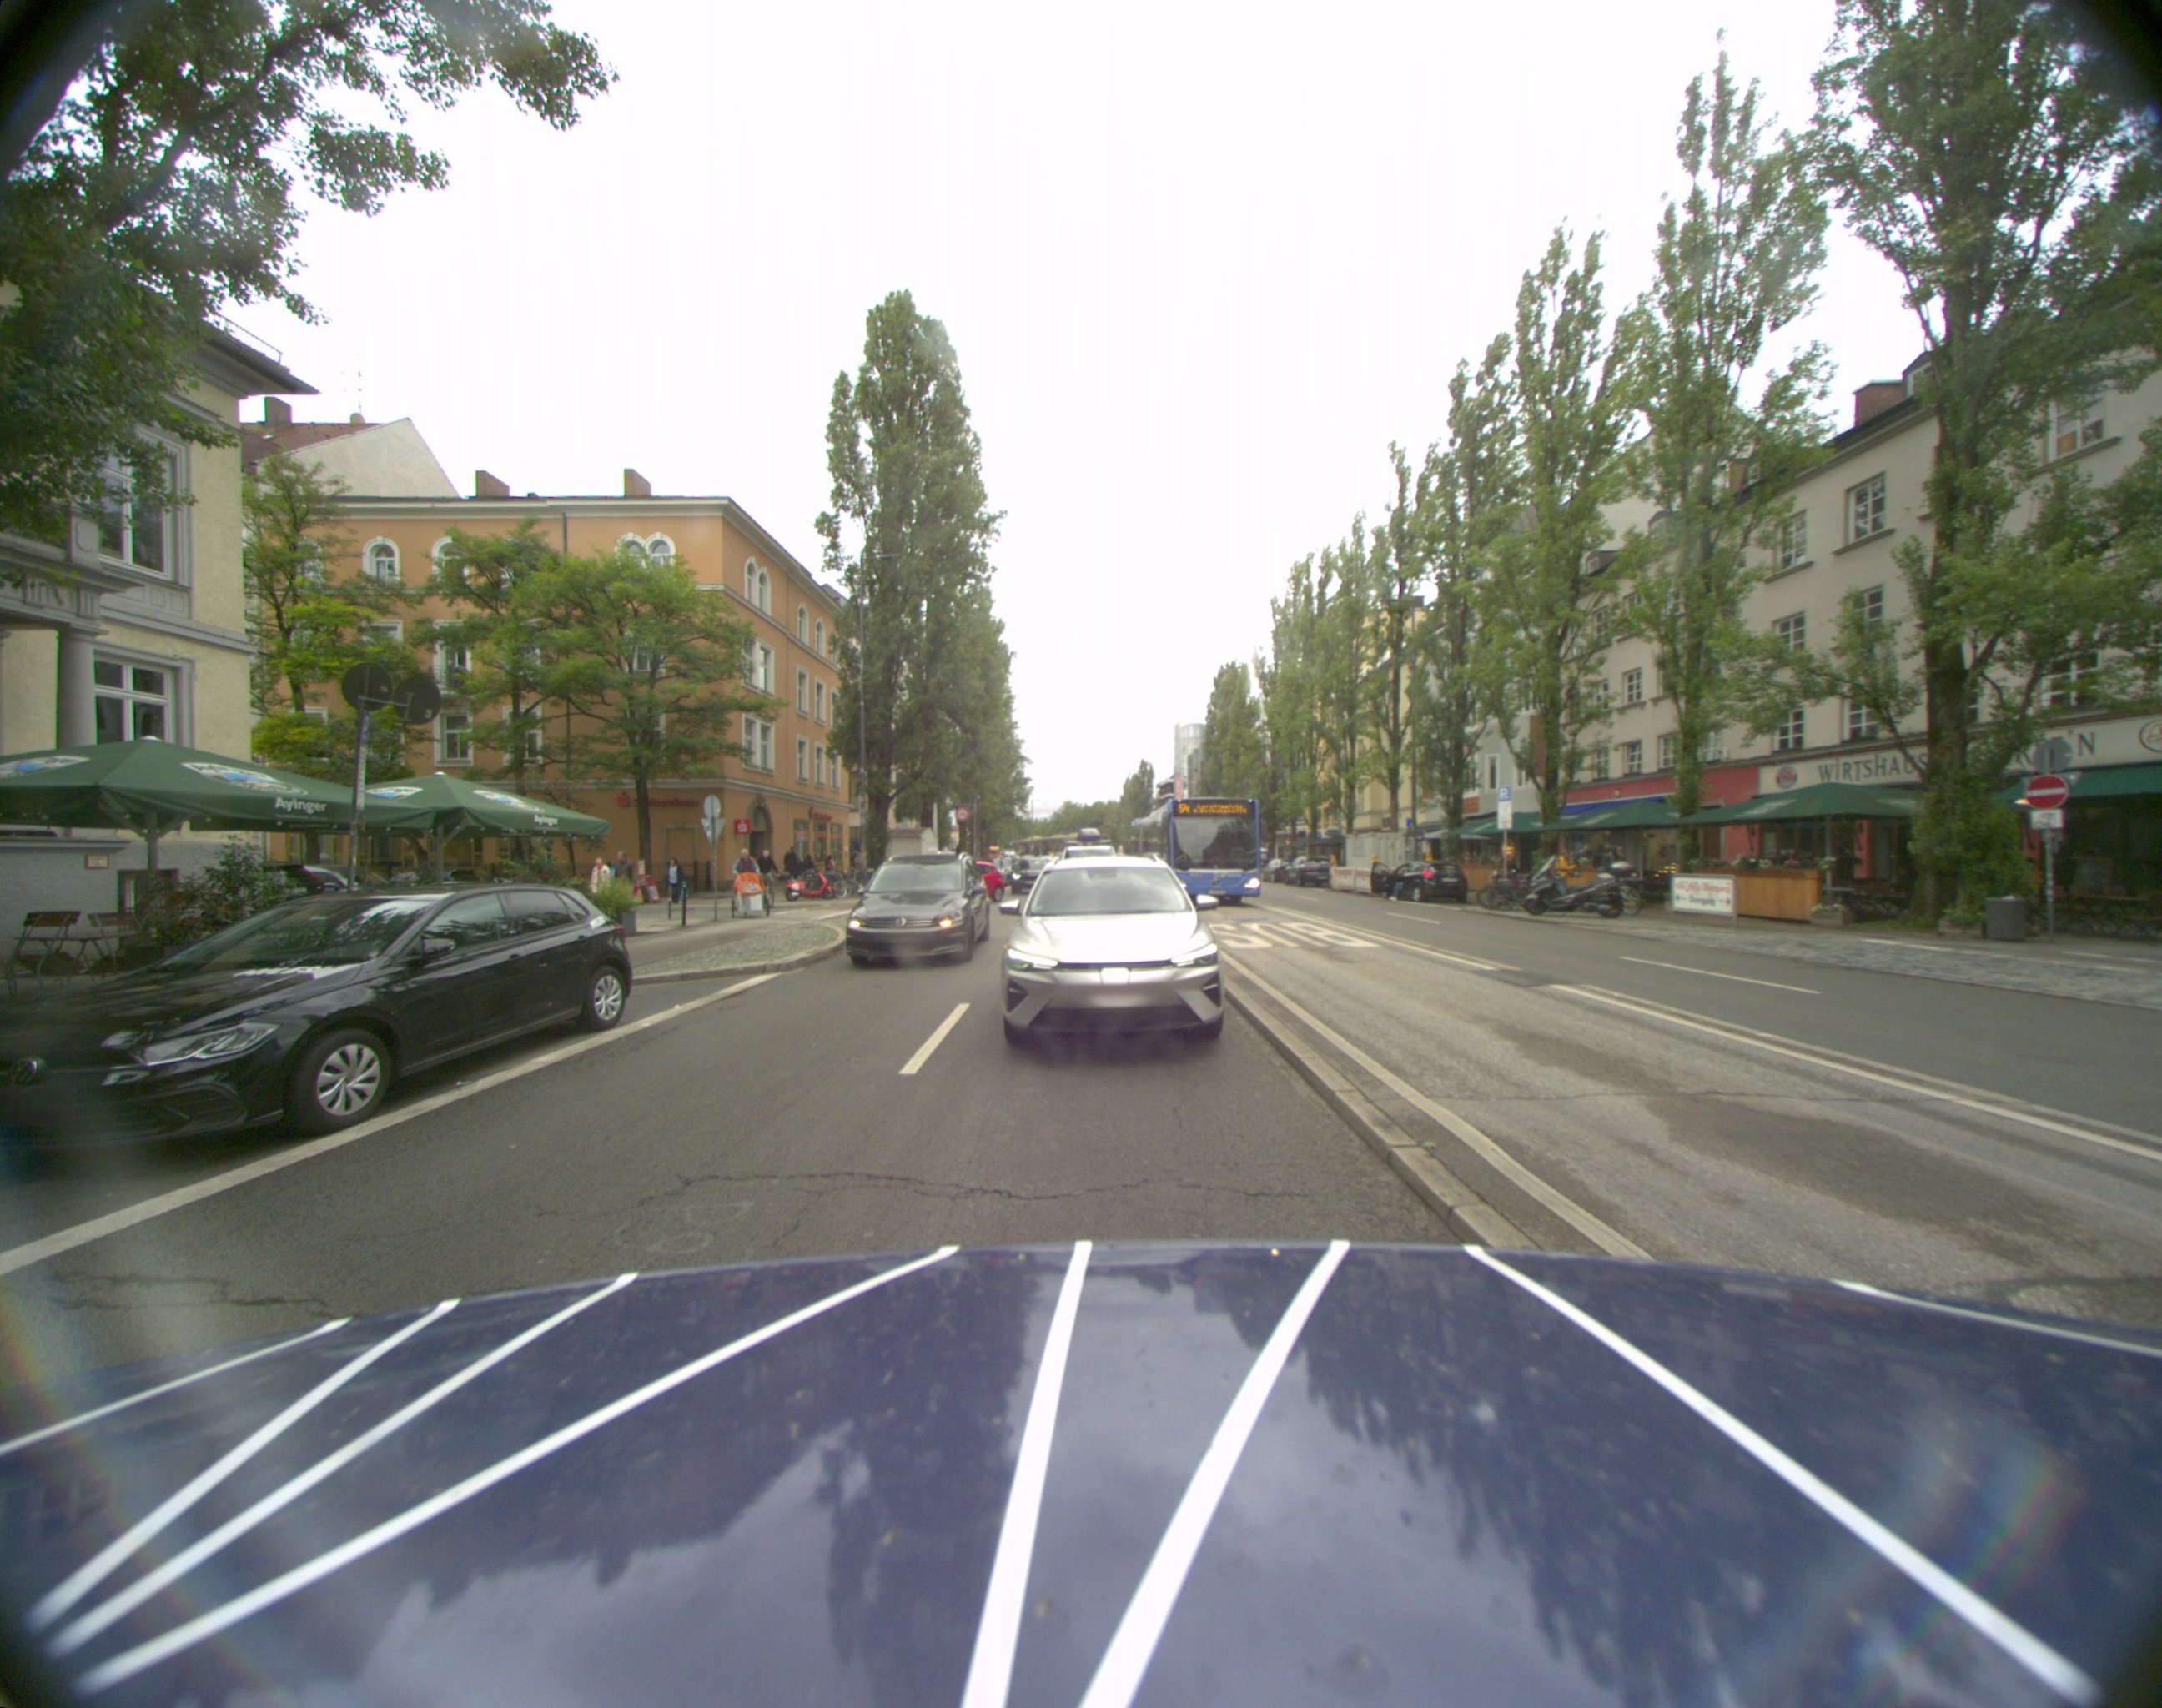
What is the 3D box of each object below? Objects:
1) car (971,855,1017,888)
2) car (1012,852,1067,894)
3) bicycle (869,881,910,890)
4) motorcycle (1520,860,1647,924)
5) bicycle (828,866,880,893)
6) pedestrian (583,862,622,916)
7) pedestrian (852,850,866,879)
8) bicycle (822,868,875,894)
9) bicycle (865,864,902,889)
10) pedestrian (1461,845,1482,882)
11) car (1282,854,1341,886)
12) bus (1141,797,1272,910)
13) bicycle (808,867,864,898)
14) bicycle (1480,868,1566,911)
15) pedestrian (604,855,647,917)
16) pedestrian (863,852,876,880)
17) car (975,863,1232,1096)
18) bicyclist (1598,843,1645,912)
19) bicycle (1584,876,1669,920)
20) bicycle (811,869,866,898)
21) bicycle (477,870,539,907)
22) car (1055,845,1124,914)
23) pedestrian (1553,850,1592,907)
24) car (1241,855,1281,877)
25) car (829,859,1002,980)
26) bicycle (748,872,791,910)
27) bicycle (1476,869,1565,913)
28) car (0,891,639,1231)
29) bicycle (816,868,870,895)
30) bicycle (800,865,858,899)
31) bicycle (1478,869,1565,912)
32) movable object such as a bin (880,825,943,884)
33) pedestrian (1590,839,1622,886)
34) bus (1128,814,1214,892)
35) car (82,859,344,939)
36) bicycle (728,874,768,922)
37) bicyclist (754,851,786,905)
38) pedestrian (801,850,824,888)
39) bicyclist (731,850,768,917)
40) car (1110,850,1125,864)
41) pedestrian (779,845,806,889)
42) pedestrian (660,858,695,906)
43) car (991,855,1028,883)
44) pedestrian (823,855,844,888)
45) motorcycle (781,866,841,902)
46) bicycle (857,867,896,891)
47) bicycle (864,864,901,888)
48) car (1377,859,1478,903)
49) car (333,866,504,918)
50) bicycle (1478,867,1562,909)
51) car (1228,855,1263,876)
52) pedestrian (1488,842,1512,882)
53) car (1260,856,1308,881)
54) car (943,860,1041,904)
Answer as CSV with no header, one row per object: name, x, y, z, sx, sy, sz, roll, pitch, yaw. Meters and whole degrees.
car,-4.489,0.886,39.788,1.789,1.544,4.498,-2,0,0
car,-1.754,0.795,33.408,1.705,1.683,4.005,-2,0,6
bicycle,-8.498,1.401,33.840,1.677,0.371,0.830,1,0,-7
motorcycle,11.983,0.863,18.229,0.747,1.406,2.448,-1,0,-33
bicycle,-9.434,1.069,31.611,1.945,1.078,0.561,-1,1,1
pedestrian,-14.208,1.038,22.578,0.699,1.562,0.575,-2,1,3
pedestrian,-13.141,0.629,44.907,0.635,1.684,0.574,-2,1,-7
bicycle,-9.443,1.102,30.862,1.945,1.004,0.561,-1,1,1
bicycle,-8.979,1.006,34.586,1.604,1.078,0.341,-1,1,-22
pedestrian,20.614,0.502,40.135,0.699,1.915,0.905,0,1,4
car,12.148,0.788,40.403,1.802,1.603,4.574,0,0,1
bus,3.678,-0.038,24.933,2.696,2.932,10.052,-1,0,0
bicycle,-9.303,1.073,28.864,1.945,1.130,0.561,-1,1,1
bicycle,11.972,0.960,20.615,1.976,1.119,0.283,-2,1,37
pedestrian,-13.229,0.924,22.095,0.699,1.756,0.732,-2,1,4
pedestrian,-12.764,0.709,45.884,0.619,1.684,0.574,-2,1,-8
car,0.163,0.908,7.339,1.742,1.510,4.033,-2,0,0
bicyclist,13.729,0.584,19.317,0.606,1.695,0.816,-1,1,2
bicycle,13.730,1.082,19.197,0.613,0.963,2.174,-1,0,1
bicycle,-9.397,1.123,29.515,1.945,1.082,0.561,-1,1,1
bicycle,-22.185,1.339,29.444,1.945,1.364,0.561,-2,1,1
car,0.238,0.677,23.676,1.839,1.831,5.129,-2,1,0
pedestrian,14.962,0.723,23.150,0.731,1.716,0.700,0,1,1
car,12.491,0.829,52.983,1.802,1.432,4.574,0,0,1
car,-2.482,0.911,12.513,1.882,1.582,4.192,-2,0,0
bicycle,-9.916,1.147,24.287,0.737,1.113,2.100,-1,0,-7
bicycle,11.608,0.973,20.107,1.976,1.119,0.361,-2,1,37
car,-5.239,1.090,5.588,1.698,1.408,3.950,-1,0,-1
bicycle,-9.457,1.091,30.258,1.945,1.069,0.561,-1,1,1
bicycle,-9.343,1.044,28.220,1.945,1.232,0.561,-1,1,1
bicycle,11.798,0.969,20.390,1.976,1.119,0.283,-2,1,37
movable object such as a bin,-9.412,0.022,42.655,2.445,3.119,4.543,1,0,1
pedestrian,21.742,0.354,31.466,0.699,1.915,0.905,0,1,4
bus,3.737,-0.055,33.832,2.690,2.932,10.052,-1,0,0
car,-21.404,1.075,18.850,4.425,1.692,1.971,-2,1,5
bicycle,-8.638,1.124,19.802,0.888,1.113,2.098,-1,0,-22
bicyclist,-9.911,0.764,24.257,0.741,1.677,0.748,-1,1,-7
pedestrian,-12.187,0.666,34.516,0.746,1.651,0.771,-2,1,-3
bicyclist,-8.782,0.764,20.163,0.832,1.747,0.666,-1,1,-22
car,5.366,0.486,111.111,1.998,2.002,4.000,0,0,1
pedestrian,-13.010,0.569,34.331,0.840,1.937,0.801,-2,1,-2
pedestrian,-13.718,0.951,25.876,0.745,1.562,0.664,-2,1,3
car,-4.375,0.877,46.941,1.789,1.604,4.498,-2,0,0
pedestrian,-12.097,0.862,37.103,0.745,1.562,0.614,-2,1,3
motorcycle,-9.690,1.066,27.258,1.963,1.214,0.514,-1,1,-25
bicycle,-8.901,1.090,33.068,1.602,1.004,0.342,-1,1,-6
bicycle,-9.136,0.993,34.916,1.610,1.078,0.321,-1,1,-22
car,12.227,0.910,27.083,1.760,1.414,3.784,1,0,-2
car,-22.244,1.252,25.631,3.997,1.511,1.906,-2,1,-1
bicycle,12.281,0.952,21.305,1.976,1.119,0.343,-2,1,37
car,12.569,0.877,58.247,1.802,1.495,4.574,0,0,1
pedestrian,20.531,0.382,37.255,0.699,1.915,0.905,0,1,4
car,12.295,0.849,46.319,1.802,1.432,4.574,0,0,1
car,-3.177,0.978,27.815,1.613,1.425,4.010,-1,0,26
